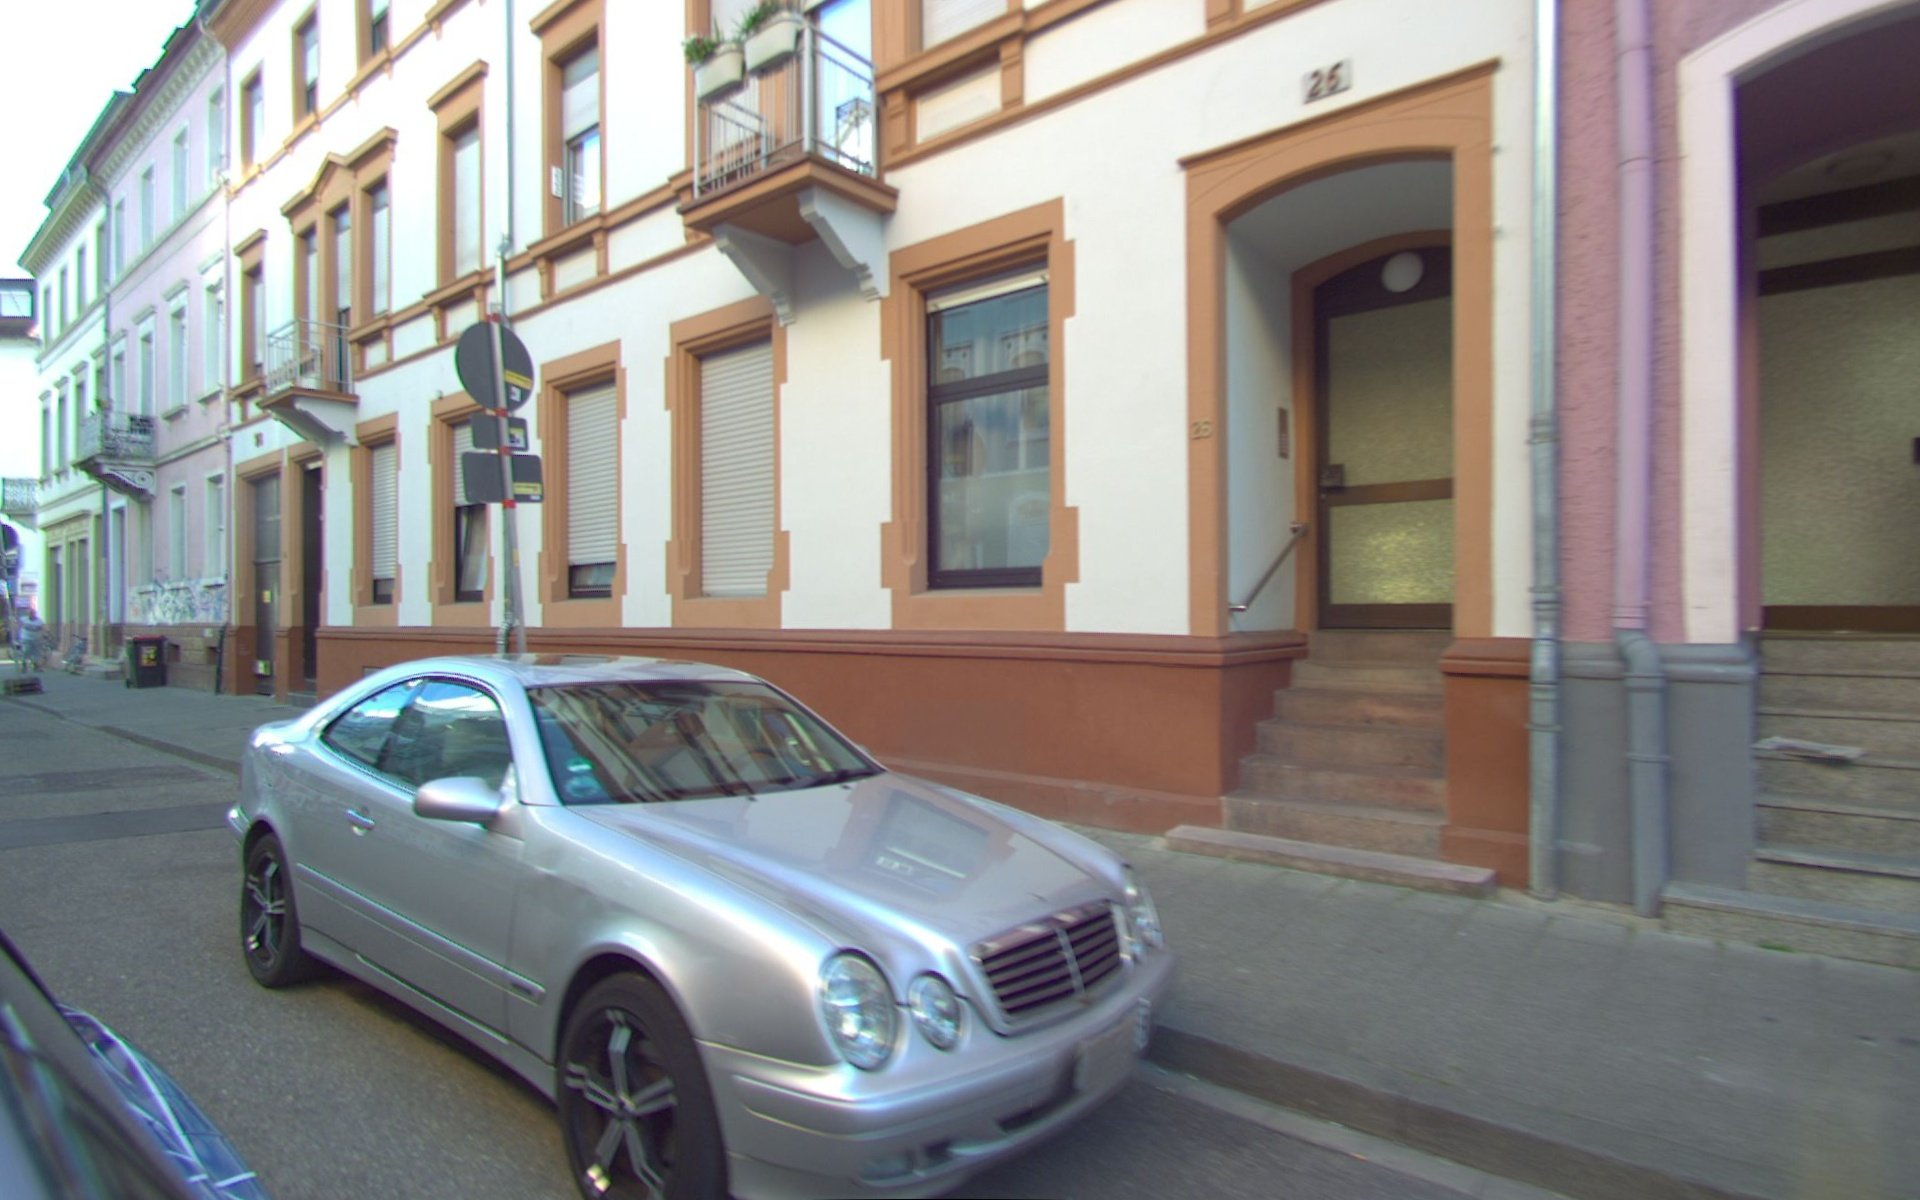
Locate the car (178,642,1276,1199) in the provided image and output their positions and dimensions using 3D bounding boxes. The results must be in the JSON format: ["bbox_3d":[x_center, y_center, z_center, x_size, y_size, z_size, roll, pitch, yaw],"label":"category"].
[{"bbox_3d":[-1.299,0.908,3.871,4.501,1.394,1.693,-1,-3,40],"label":"car"}]

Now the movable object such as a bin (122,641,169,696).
[{"bbox_3d":[-16.207,1.354,20.136,0.595,1.043,0.600,-1,0,38],"label":"movable object such as a bin"}]

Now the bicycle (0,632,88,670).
[{"bbox_3d":[-34.530,1.893,38.094,0.928,1.369,2.450,-1,-2,40],"label":"bicycle"}]

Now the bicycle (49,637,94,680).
[{"bbox_3d":[-22.787,1.487,25.946,1.817,1.030,0.616,-2,-1,40],"label":"bicycle"}]

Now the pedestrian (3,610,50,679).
[{"bbox_3d":[-24.271,1.162,26.305,0.864,1.714,0.687,-4,1,40],"label":"pedestrian"}]

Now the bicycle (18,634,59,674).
[{"bbox_3d":[-26.322,1.520,28.891,1.817,1.030,0.597,0,3,40],"label":"bicycle"}]
